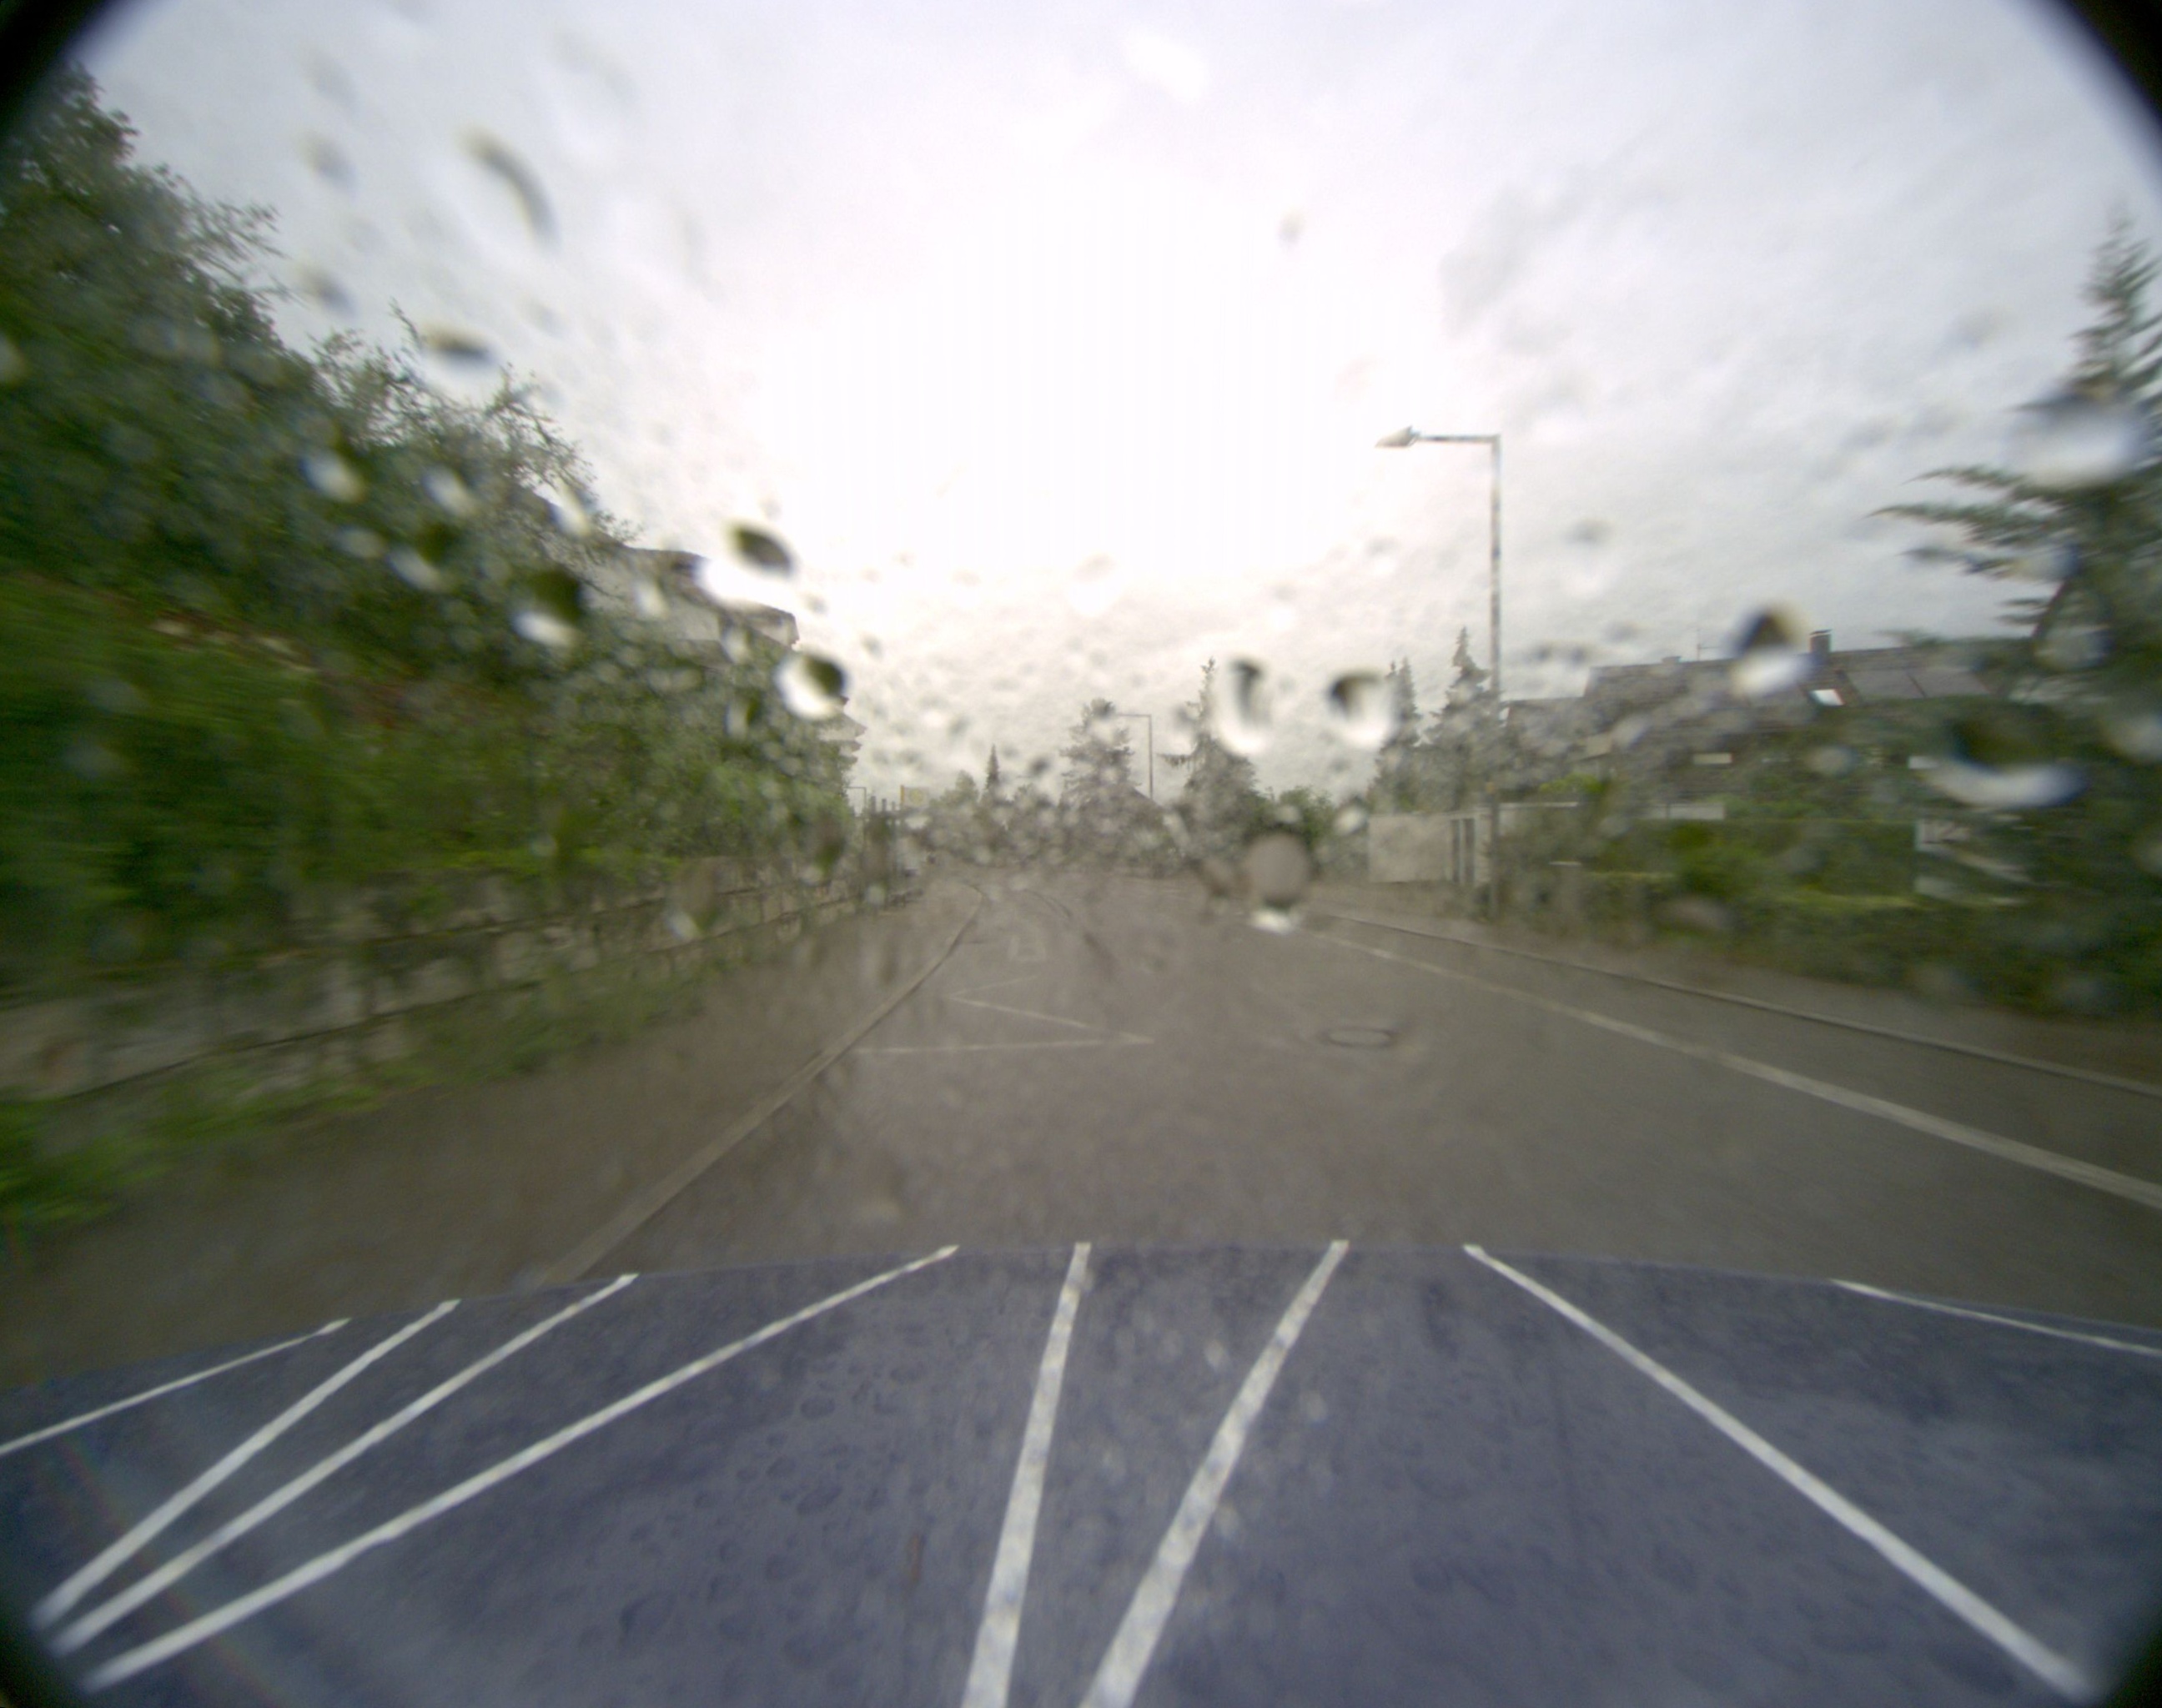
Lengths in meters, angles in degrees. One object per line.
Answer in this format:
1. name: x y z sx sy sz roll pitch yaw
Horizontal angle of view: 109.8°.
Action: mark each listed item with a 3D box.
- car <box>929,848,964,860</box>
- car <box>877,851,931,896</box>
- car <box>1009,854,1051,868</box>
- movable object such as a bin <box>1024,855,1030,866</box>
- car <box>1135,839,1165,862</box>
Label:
1. car: -19.106 -0.024 108.056 4.562 1.467 1.834 -3 2 -34
2. car: -6.278 0.645 27.271 1.711 1.445 4.016 1 0 -11
3. car: -5.294 0.698 79.114 4.002 1.264 1.871 -2 1 -16
4. movable object such as a bin: -4.977 0.620 69.900 0.372 0.982 0.557 -2 1 -22
5. car: 5.186 -0.273 57.518 1.998 1.565 4.000 -2 1 3
